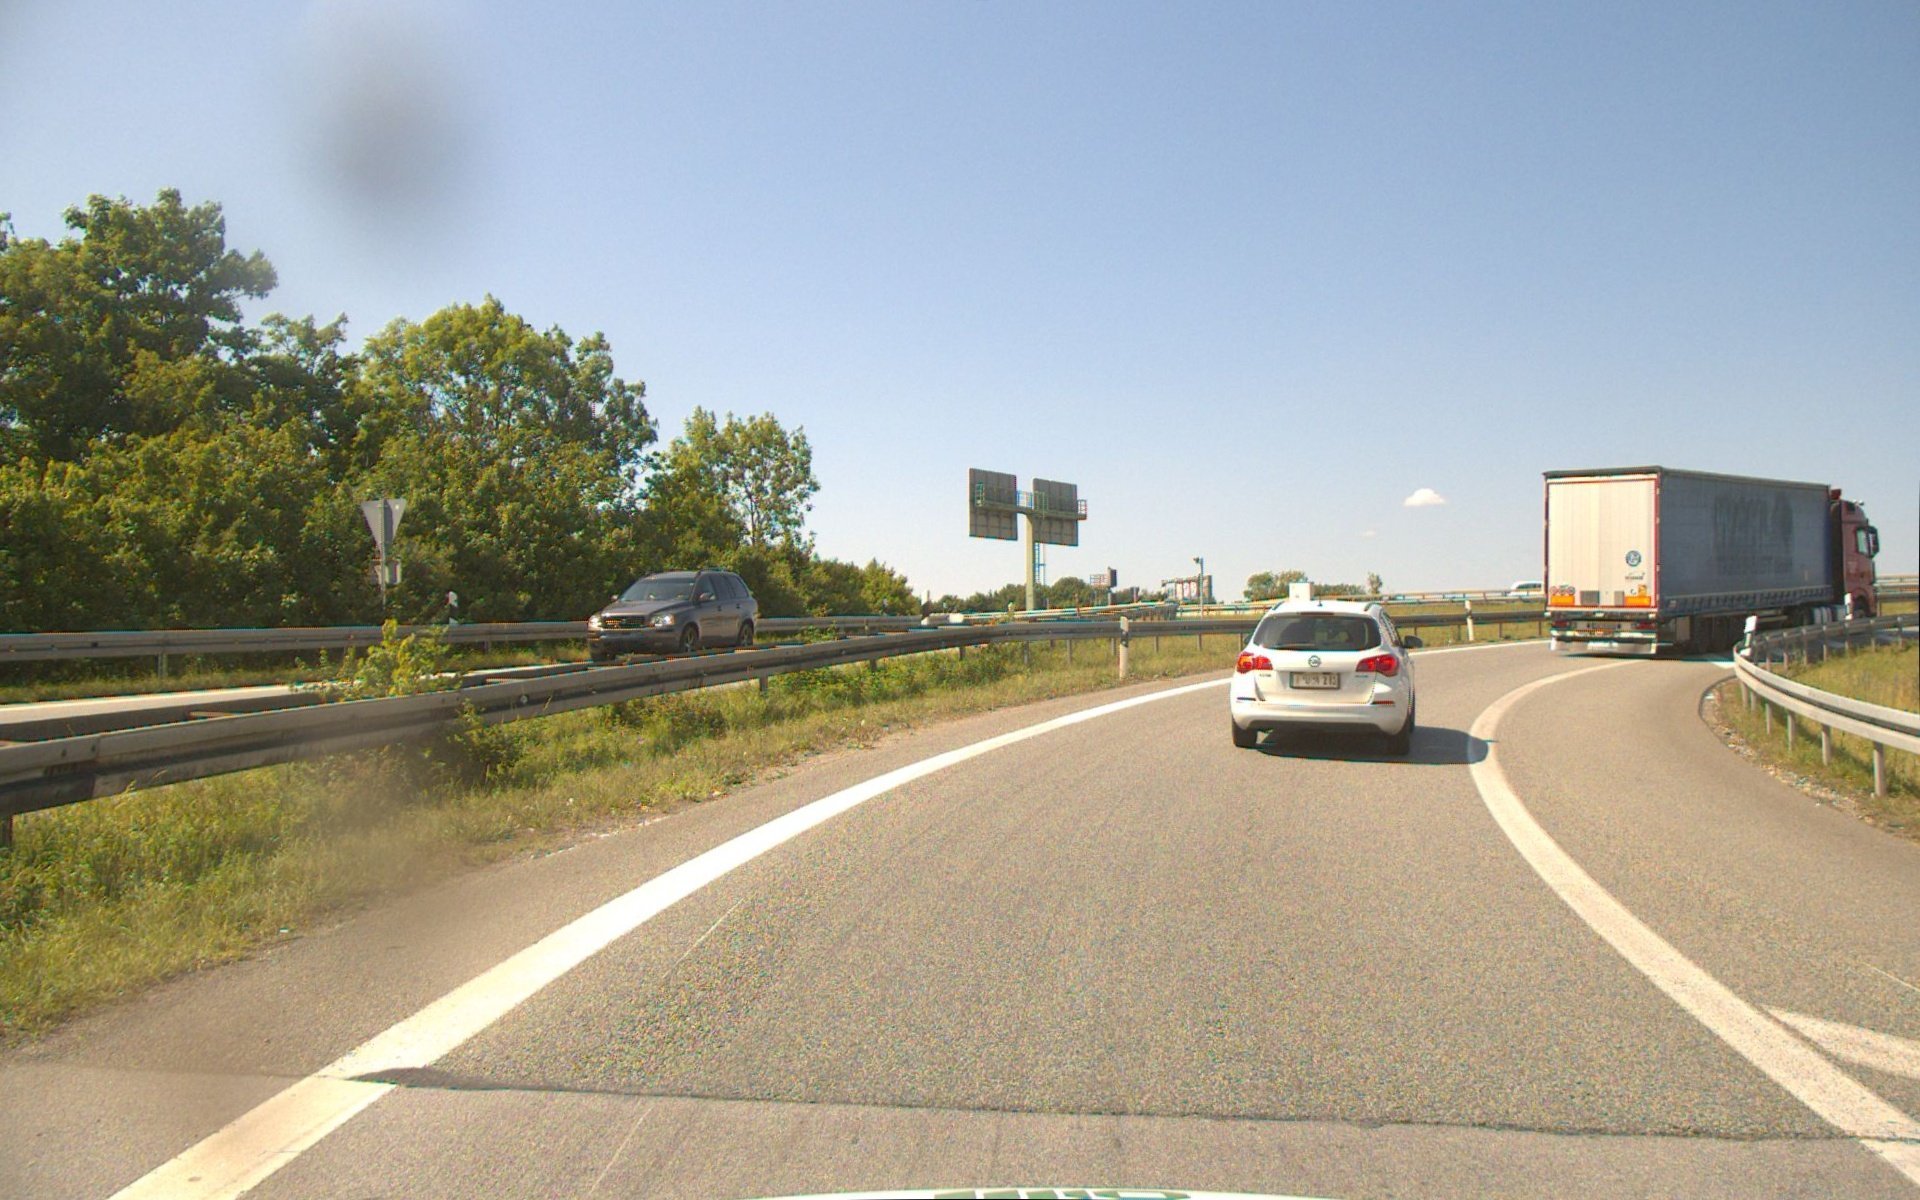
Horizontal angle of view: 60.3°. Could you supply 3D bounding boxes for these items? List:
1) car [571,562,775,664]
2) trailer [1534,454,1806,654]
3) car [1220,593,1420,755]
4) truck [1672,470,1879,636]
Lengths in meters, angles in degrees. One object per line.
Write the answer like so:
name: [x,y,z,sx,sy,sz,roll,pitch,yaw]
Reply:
car: [-5.309,0.219,31.456,1.951,1.761,5.202,1,0,13]
trailer: [17.482,-1.052,40.108,2.868,4.217,11.196,-1,0,40]
car: [3.970,0.677,17.717,1.815,1.468,4.375,0,1,16]
truck: [22.526,-1.244,45.521,6.871,4.217,2.876,-1,0,-43]
